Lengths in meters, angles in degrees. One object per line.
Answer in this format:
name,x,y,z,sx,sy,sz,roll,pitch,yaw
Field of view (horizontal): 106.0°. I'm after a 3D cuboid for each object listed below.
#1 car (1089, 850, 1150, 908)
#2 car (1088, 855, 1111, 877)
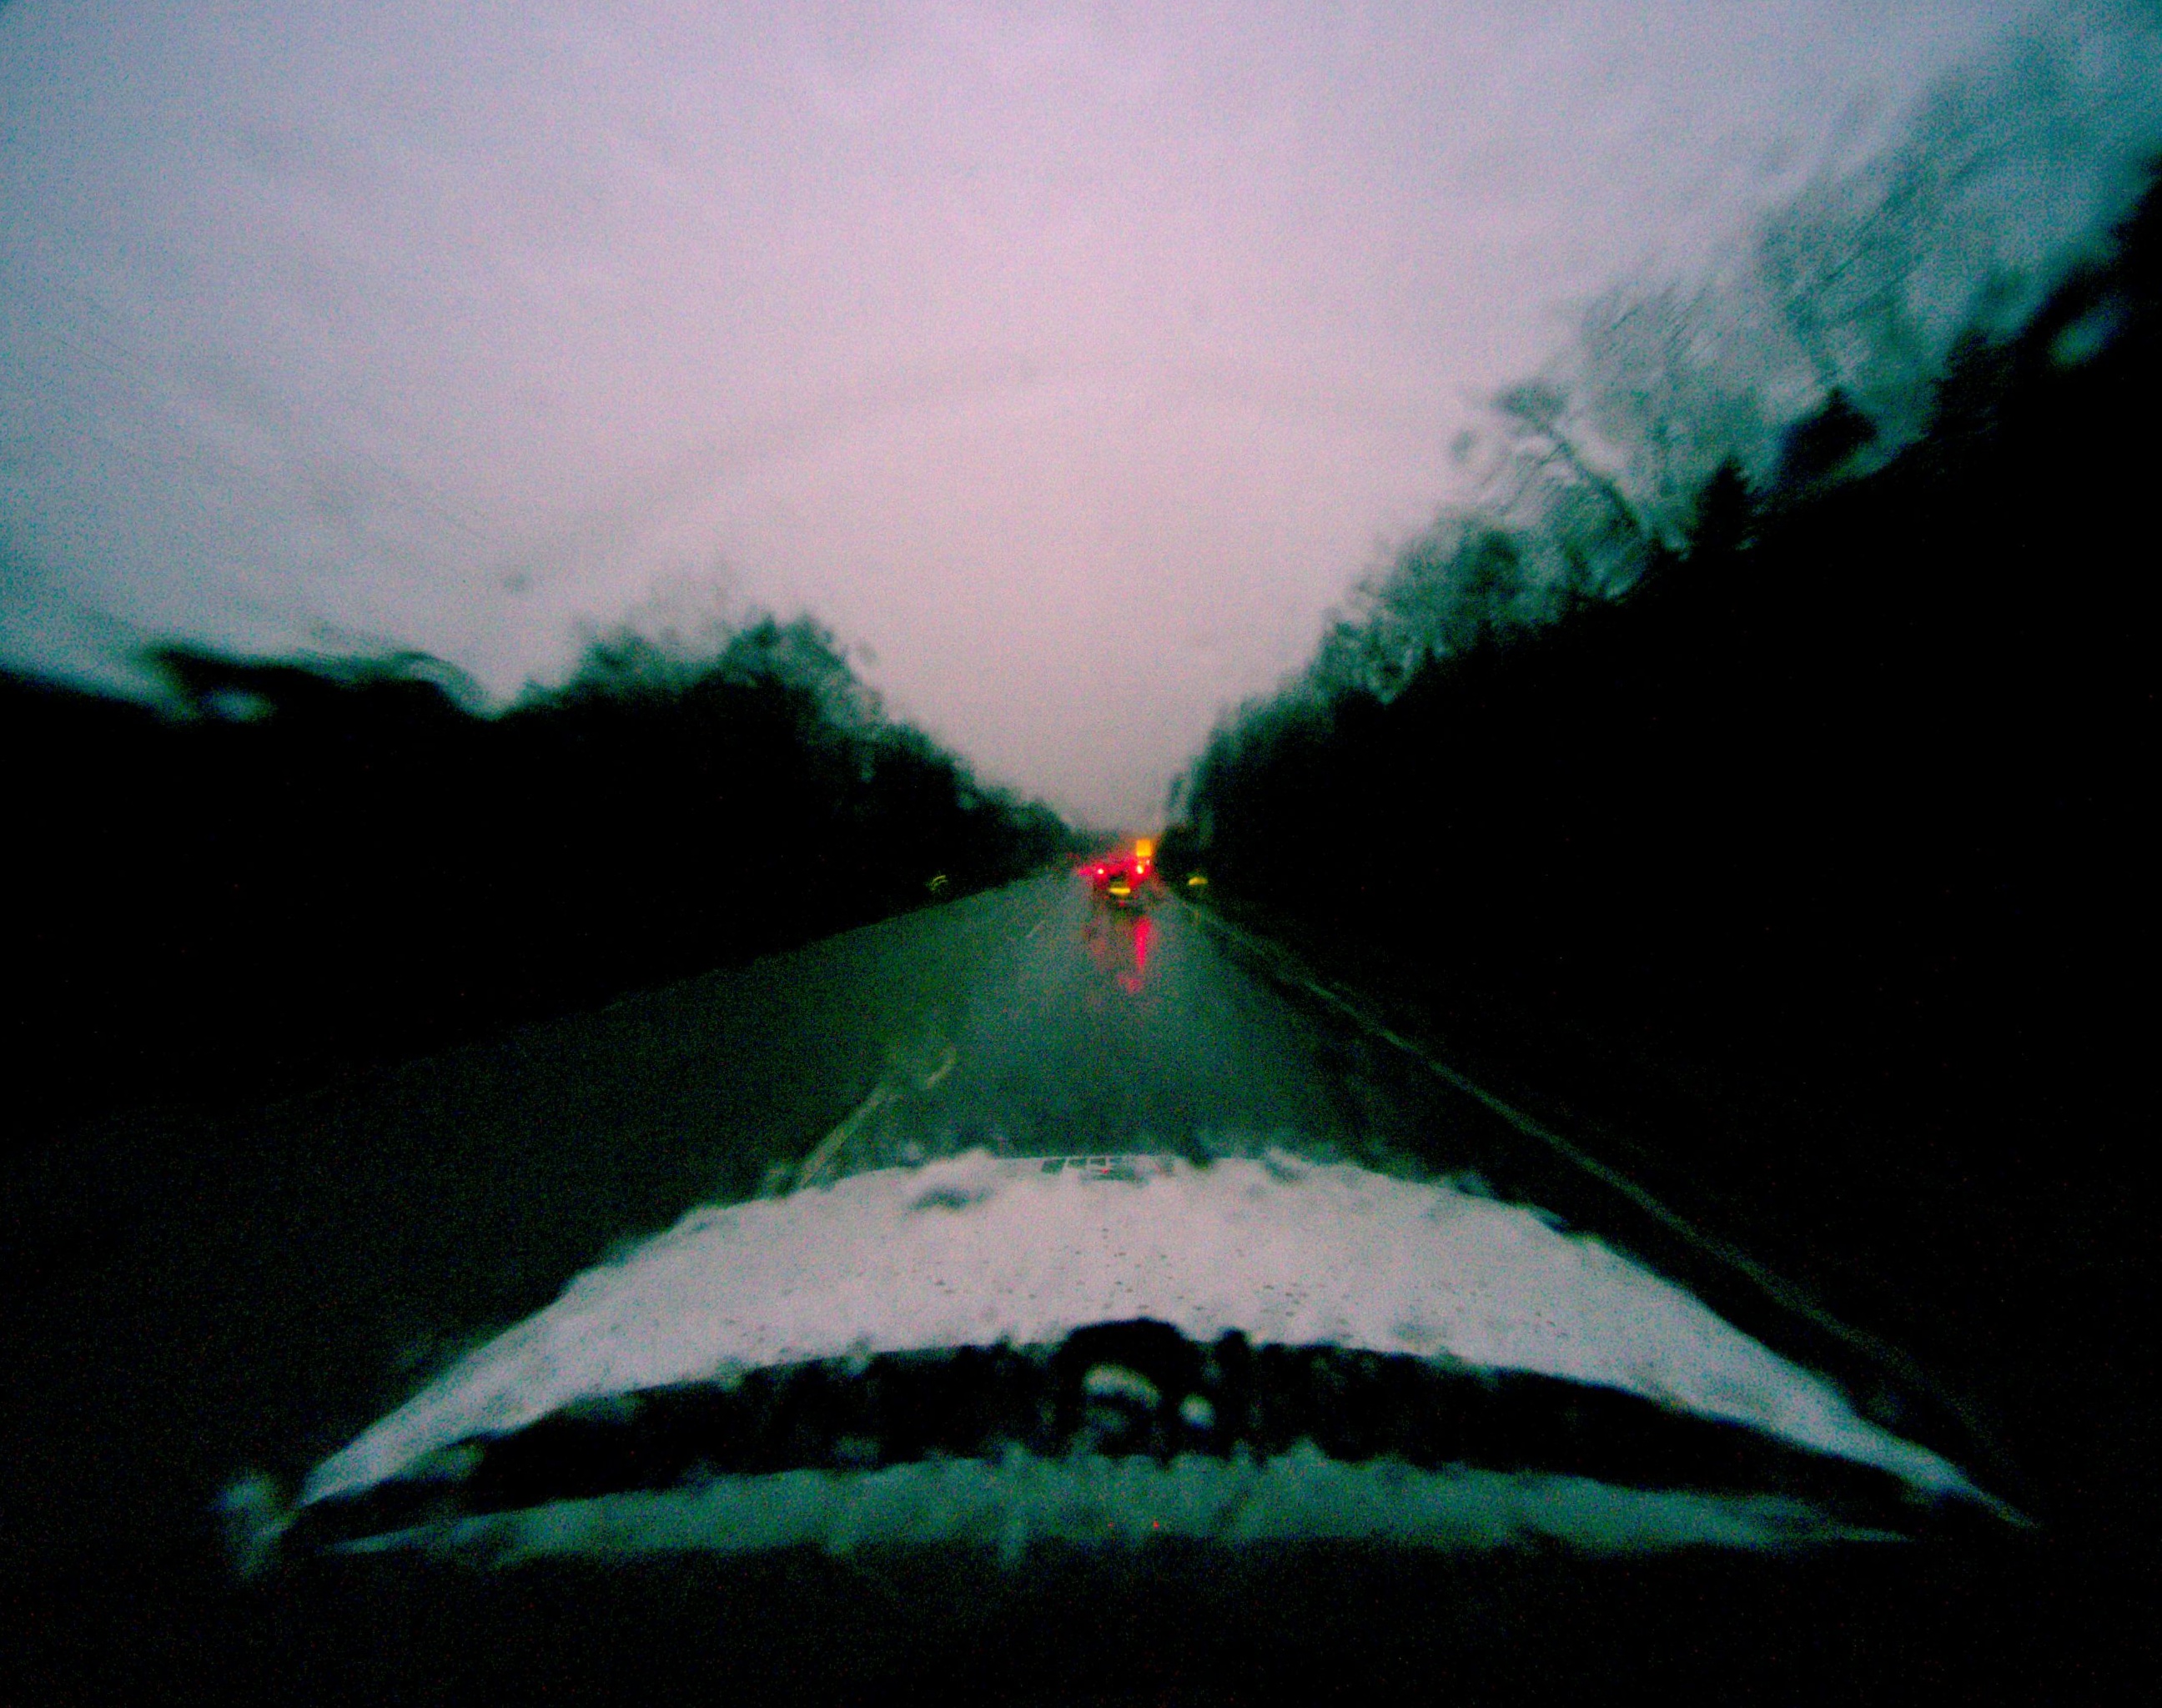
car,1.239,0.738,25.723,1.720,1.643,4.003,-1,0,3
car,1.518,0.950,65.489,1.720,1.643,4.003,-1,0,3
